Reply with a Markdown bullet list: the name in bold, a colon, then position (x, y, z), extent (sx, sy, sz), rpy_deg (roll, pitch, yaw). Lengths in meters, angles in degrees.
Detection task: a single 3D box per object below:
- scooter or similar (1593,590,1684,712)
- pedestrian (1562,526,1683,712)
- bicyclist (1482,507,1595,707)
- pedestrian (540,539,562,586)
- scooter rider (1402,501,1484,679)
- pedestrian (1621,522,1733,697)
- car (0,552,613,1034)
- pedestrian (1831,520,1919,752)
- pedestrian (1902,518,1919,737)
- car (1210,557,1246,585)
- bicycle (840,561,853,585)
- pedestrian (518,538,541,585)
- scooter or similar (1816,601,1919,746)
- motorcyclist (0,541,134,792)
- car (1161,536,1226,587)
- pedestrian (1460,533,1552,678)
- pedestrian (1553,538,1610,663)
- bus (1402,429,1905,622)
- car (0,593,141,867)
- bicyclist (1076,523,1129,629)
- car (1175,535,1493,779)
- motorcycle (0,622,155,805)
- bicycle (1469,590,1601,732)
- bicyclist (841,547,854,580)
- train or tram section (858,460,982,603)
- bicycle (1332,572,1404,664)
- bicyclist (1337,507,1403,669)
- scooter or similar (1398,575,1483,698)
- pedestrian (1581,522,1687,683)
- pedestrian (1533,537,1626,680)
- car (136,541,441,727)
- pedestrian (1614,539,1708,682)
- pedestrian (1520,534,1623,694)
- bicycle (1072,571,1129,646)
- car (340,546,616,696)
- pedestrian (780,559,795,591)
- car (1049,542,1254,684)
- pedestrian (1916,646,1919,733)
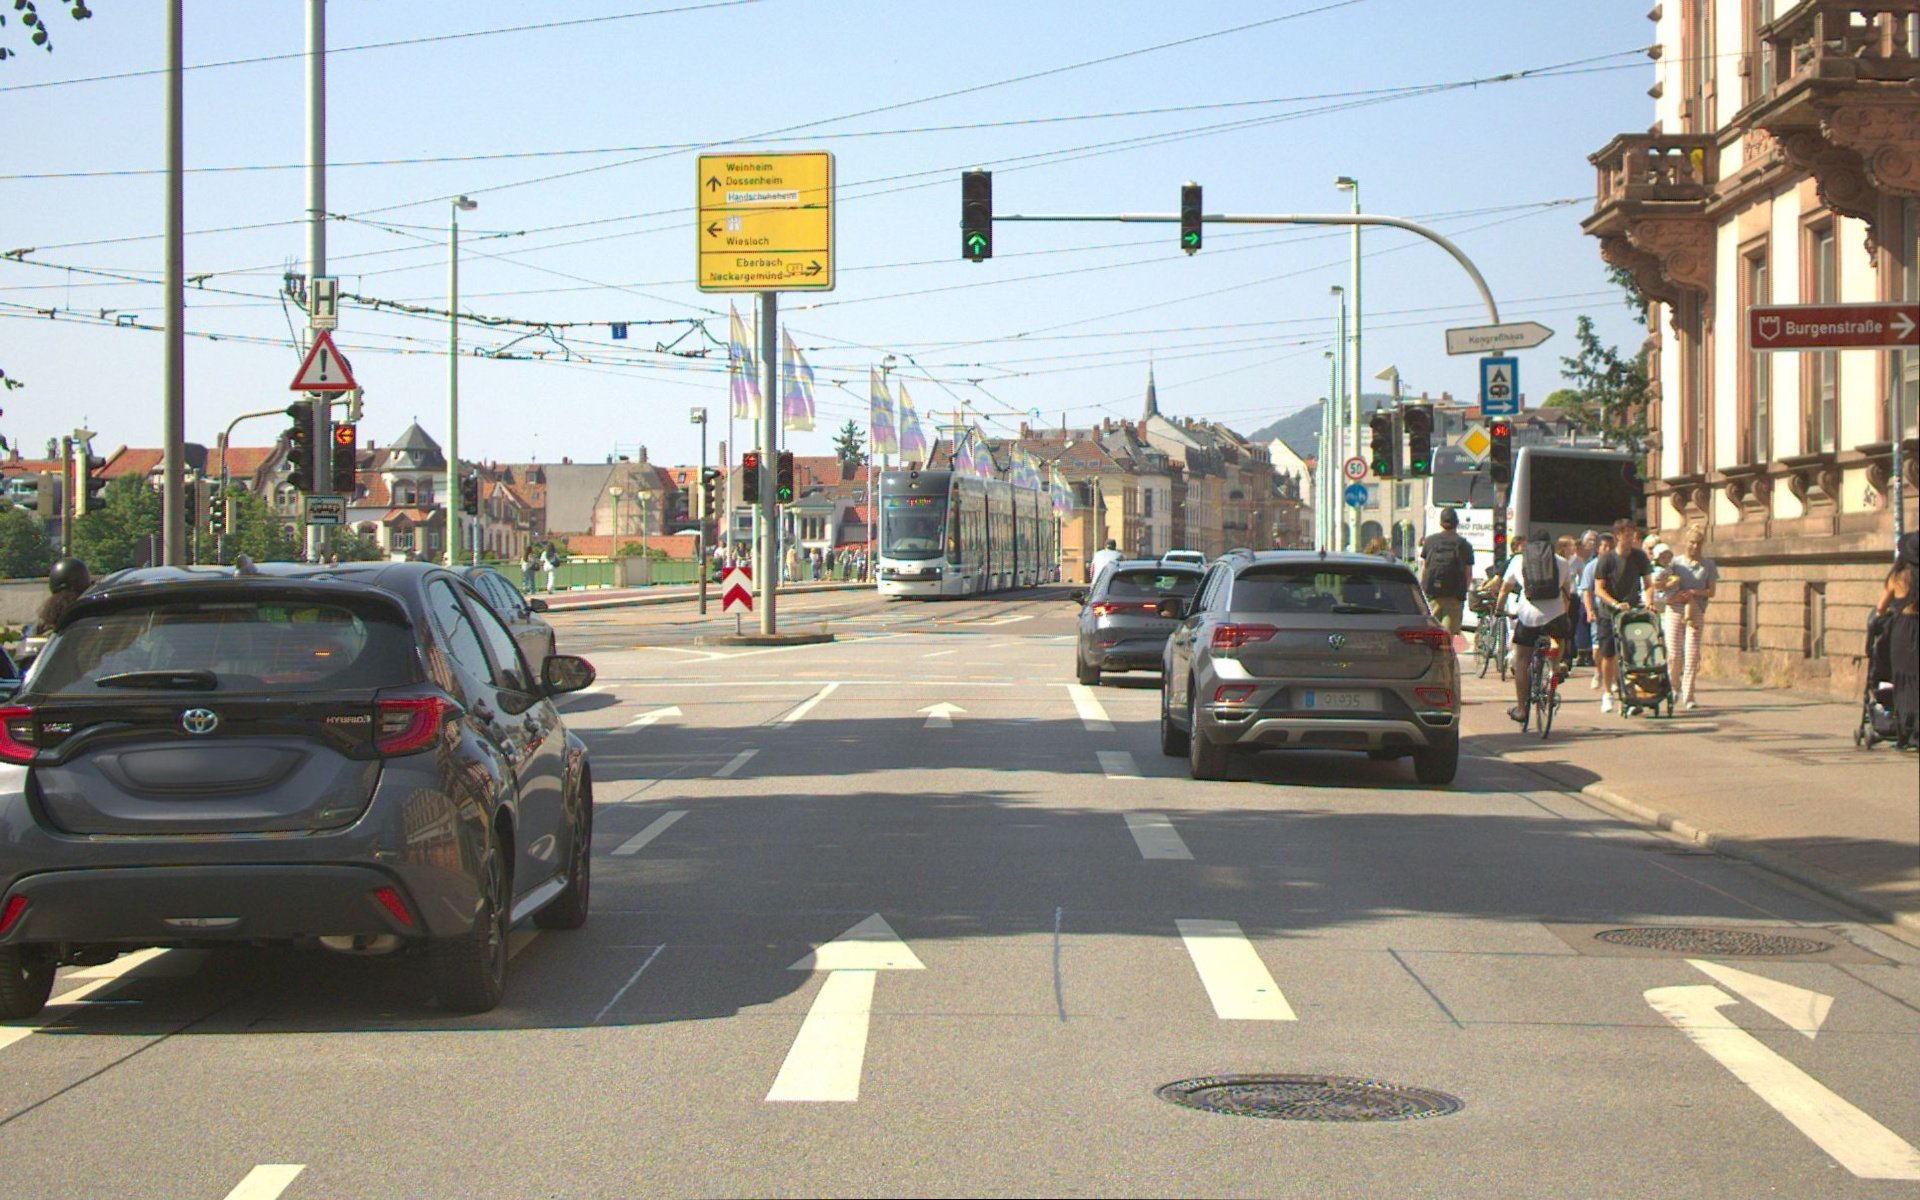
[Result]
- **scooter or similar**: position (6.034, 0.450, 30.615), extent (0.600, 1.044, 0.799), rpy_deg (3, 0, -1)
- **pedestrian**: position (6.035, 0.167, 31.351), extent (0.862, 1.634, 0.875), rpy_deg (2, 0, 0)
- **bicyclist**: position (4.709, 0.059, 28.037), extent (0.688, 1.571, 1.049), rpy_deg (2, 0, 1)
- **pedestrian**: position (-12.557, -1.148, 105.585), extent (0.558, 1.411, 0.636), rpy_deg (2, 0, -1)
- **scooter rider**: position (4.788, -0.097, 34.106), extent (0.688, 1.723, 0.778), rpy_deg (2, 0, 4)
- **pedestrian**: position (6.757, 0.081, 32.412), extent (0.862, 1.634, 0.876), rpy_deg (0, 1, 0)
- **car**: position (-2.363, 0.599, 12.570), extent (1.777, 1.470, 4.000), rpy_deg (0, 0, 0)
- **pedestrian**: position (6.888, 0.269, 24.889), extent (0.862, 1.634, 0.875), rpy_deg (2, 0, 0)
- **pedestrian**: position (7.582, 0.203, 25.652), extent (0.862, 1.634, 0.876), rpy_deg (0, 1, 0)
- **car**: position (15.725, -1.683, 201.891), extent (1.859, 1.502, 4.000), rpy_deg (3, 0, 2)
- **bicycle**: position (-5.344, -1.271, 162.273), extent (0.558, 1.121, 1.223), rpy_deg (3, 0, -1)
- **pedestrian**: position (-13.224, -1.177, 105.597), extent (0.558, 1.411, 0.636), rpy_deg (2, 0, -1)
- **scooter or similar**: position (6.793, 0.539, 25.565), extent (0.600, 1.044, 0.799), rpy_deg (3, 0, -1)
- **motorcyclist**: position (-5.667, 0.418, 21.778), extent (0.689, 1.550, 0.718), rpy_deg (-1, -1, -2)
- **car**: position (7.364, -1.200, 108.646), extent (1.859, 1.502, 4.000), rpy_deg (3, 0, 2)
- **pedestrian**: position (6.384, 0.063, 40.206), extent (0.862, 1.634, 0.875), rpy_deg (2, 0, 0)
- **pedestrian**: position (8.264, 0.005, 45.743), extent (0.576, 1.634, 0.611), rpy_deg (2, 0, 0)
- **bus**: position (11.756, -1.192, 57.861), extent (8.613, 2.767, 2.979), rpy_deg (3, 0, -34)
- **car**: position (-5.556, 0.636, 17.260), extent (1.815, 1.328, 4.000), rpy_deg (0, 0, 2)
- **bicyclist**: position (2.173, -0.358, 52.569), extent (0.688, 1.571, 1.049), rpy_deg (2, 0, 0)
- **car**: position (2.540, 0.370, 24.190), extent (1.874, 1.487, 4.000), rpy_deg (3, 0, 2)
- **motorcycle**: position (-5.653, 0.695, 21.756), extent (0.698, 1.060, 1.910), rpy_deg (-1, 1, -2)
- **bicycle**: position (4.678, 0.483, 28.101), extent (0.734, 1.089, 1.898), rpy_deg (3, 0, 1)
- **bicyclist**: position (-5.314, -1.713, 162.255), extent (0.558, 1.531, 0.743), rpy_deg (2, 0, -1)
- **train or tram section**: position (-1.060, -1.908, 97.728), extent (2.823, 3.764, 8.225), rpy_deg (3, 1, 3)
- **bicycle**: position (5.028, 0.221, 42.485), extent (0.734, 1.089, 1.897), rpy_deg (2, 0, 4)
- **bicyclist**: position (5.055, -0.142, 42.410), extent (0.688, 1.955, 0.778), rpy_deg (2, 0, 4)
- **scooter or similar**: position (4.749, 0.352, 34.013), extent (0.688, 1.163, 1.463), rpy_deg (2, 0, 4)
- **pedestrian**: position (7.080, 0.026, 36.155), extent (0.862, 1.634, 0.875), rpy_deg (2, 0, 0)
- **pedestrian**: position (7.304, 0.103, 40.576), extent (0.862, 1.634, 0.875), rpy_deg (2, 0, 0)
- **car**: position (-5.229, 0.253, 27.210), extent (1.452, 1.296, 4.000), rpy_deg (3, 0, 2)
- **pedestrian**: position (8.296, 0.120, 40.705), extent (0.862, 1.634, 0.875), rpy_deg (2, 0, 0)
- **pedestrian**: position (6.477, 0.146, 36.425), extent (0.862, 1.634, 0.875), rpy_deg (2, 0, 0)
- **bicycle**: position (2.147, 0.131, 52.607), extent (0.734, 1.089, 1.898), rpy_deg (3, 0, 0)
- **car**: position (-4.767, 0.201, 34.586), extent (2.037, 1.328, 4.000), rpy_deg (3, 0, 2)
- **pedestrian**: position (-7.655, -1.112, 152.417), extent (0.558, 1.411, 0.636), rpy_deg (2, 0, -1)
- **car**: position (2.173, 0.144, 40.074), extent (1.993, 1.487, 4.000), rpy_deg (3, 0, -2)
- **pedestrian**: position (7.786, 0.214, 25.869), extent (0.862, 1.634, 0.875), rpy_deg (2, 0, 0)
